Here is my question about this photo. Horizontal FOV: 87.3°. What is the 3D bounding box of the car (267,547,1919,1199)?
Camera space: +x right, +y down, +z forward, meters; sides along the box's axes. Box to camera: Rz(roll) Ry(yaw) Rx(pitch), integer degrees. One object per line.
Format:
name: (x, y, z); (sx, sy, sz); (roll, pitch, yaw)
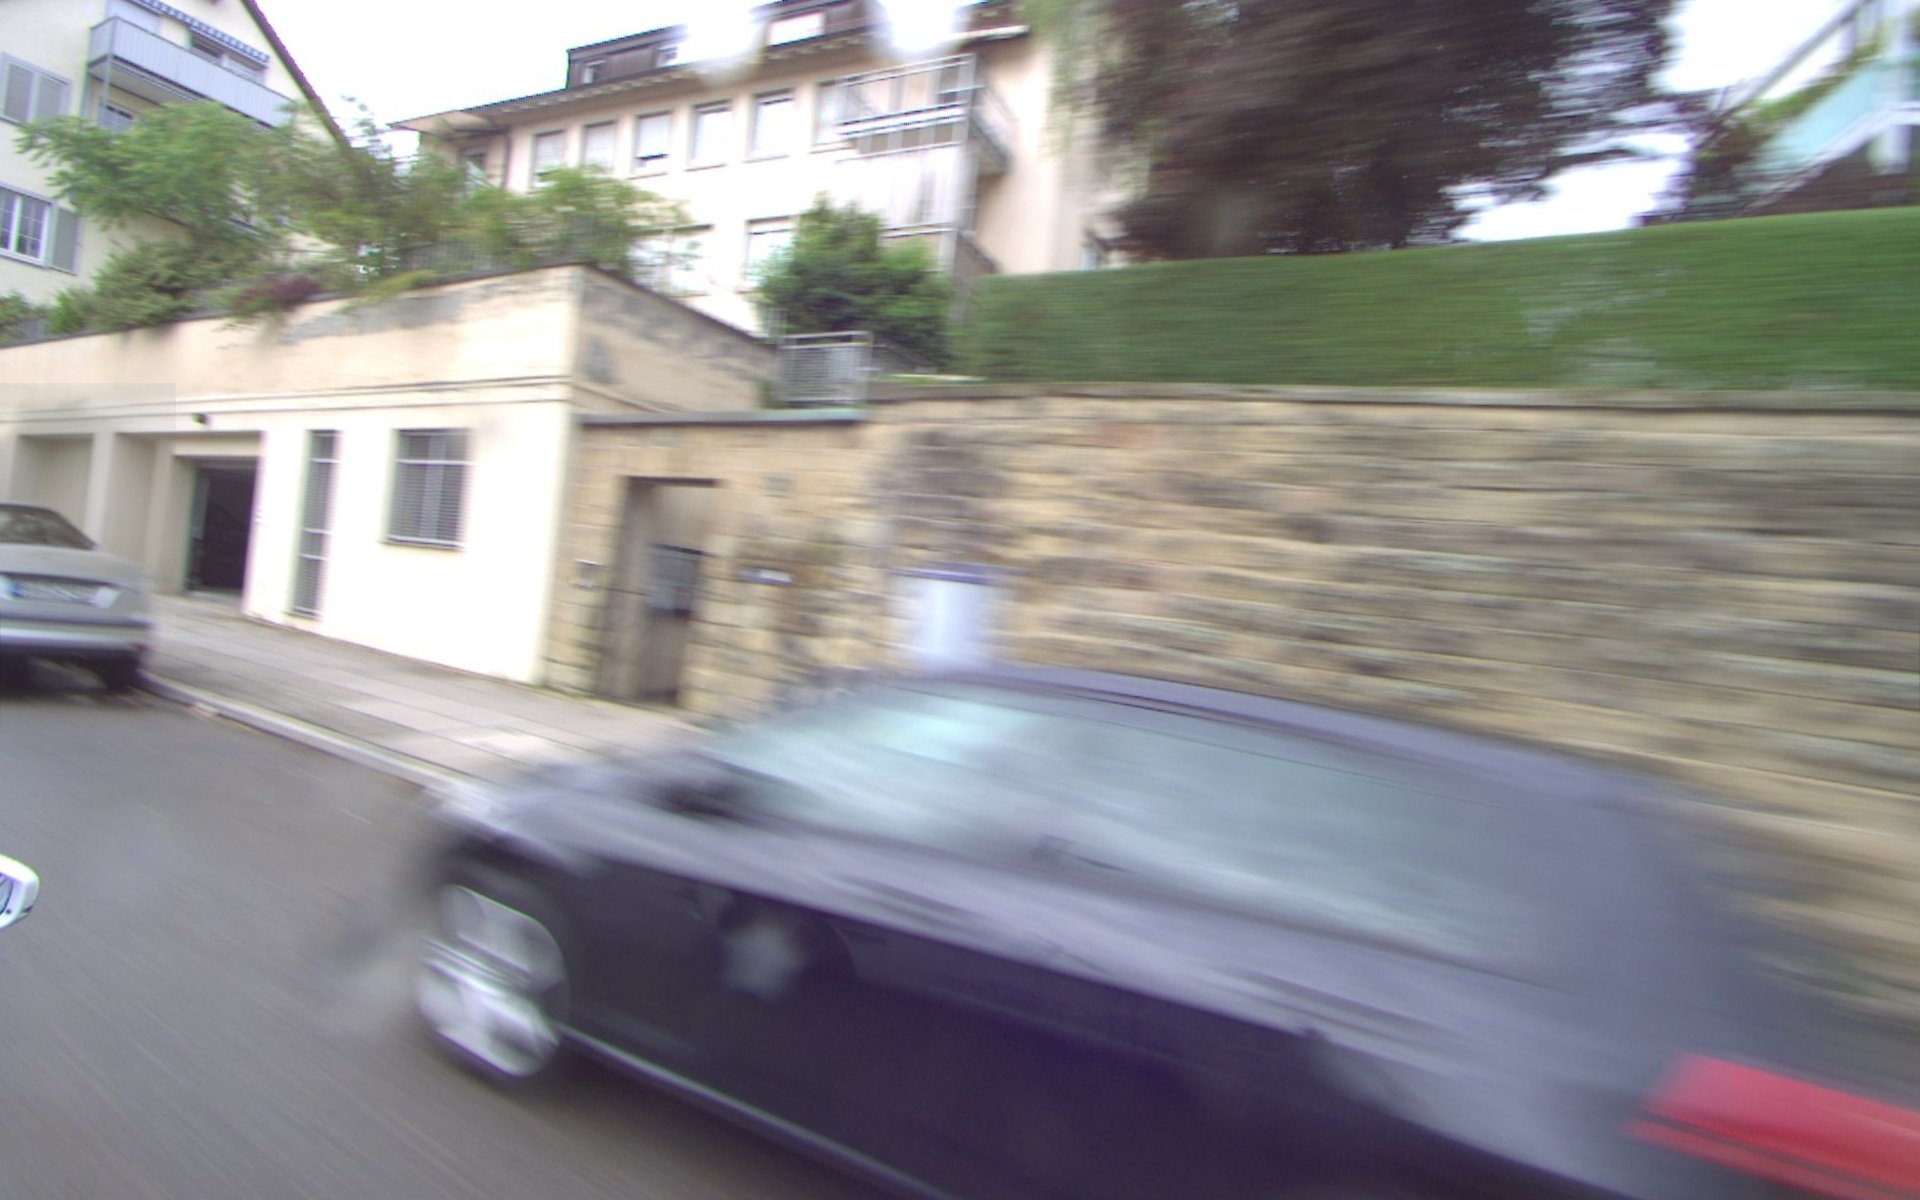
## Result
car: (-0.085, 0.868, 3.095); (4.164, 1.470, 1.692); (8, -2, 31)

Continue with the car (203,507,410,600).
car: (-13.978, -1.003, 21.482); (4.131, 1.417, 1.891); (7, -1, 29)

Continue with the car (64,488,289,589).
car: (-15.251, -1.207, 19.552); (4.131, 1.417, 1.891); (7, -1, 29)

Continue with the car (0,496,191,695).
car: (-8.871, -0.210, 8.964); (4.164, 1.470, 1.692); (6, -2, 31)
